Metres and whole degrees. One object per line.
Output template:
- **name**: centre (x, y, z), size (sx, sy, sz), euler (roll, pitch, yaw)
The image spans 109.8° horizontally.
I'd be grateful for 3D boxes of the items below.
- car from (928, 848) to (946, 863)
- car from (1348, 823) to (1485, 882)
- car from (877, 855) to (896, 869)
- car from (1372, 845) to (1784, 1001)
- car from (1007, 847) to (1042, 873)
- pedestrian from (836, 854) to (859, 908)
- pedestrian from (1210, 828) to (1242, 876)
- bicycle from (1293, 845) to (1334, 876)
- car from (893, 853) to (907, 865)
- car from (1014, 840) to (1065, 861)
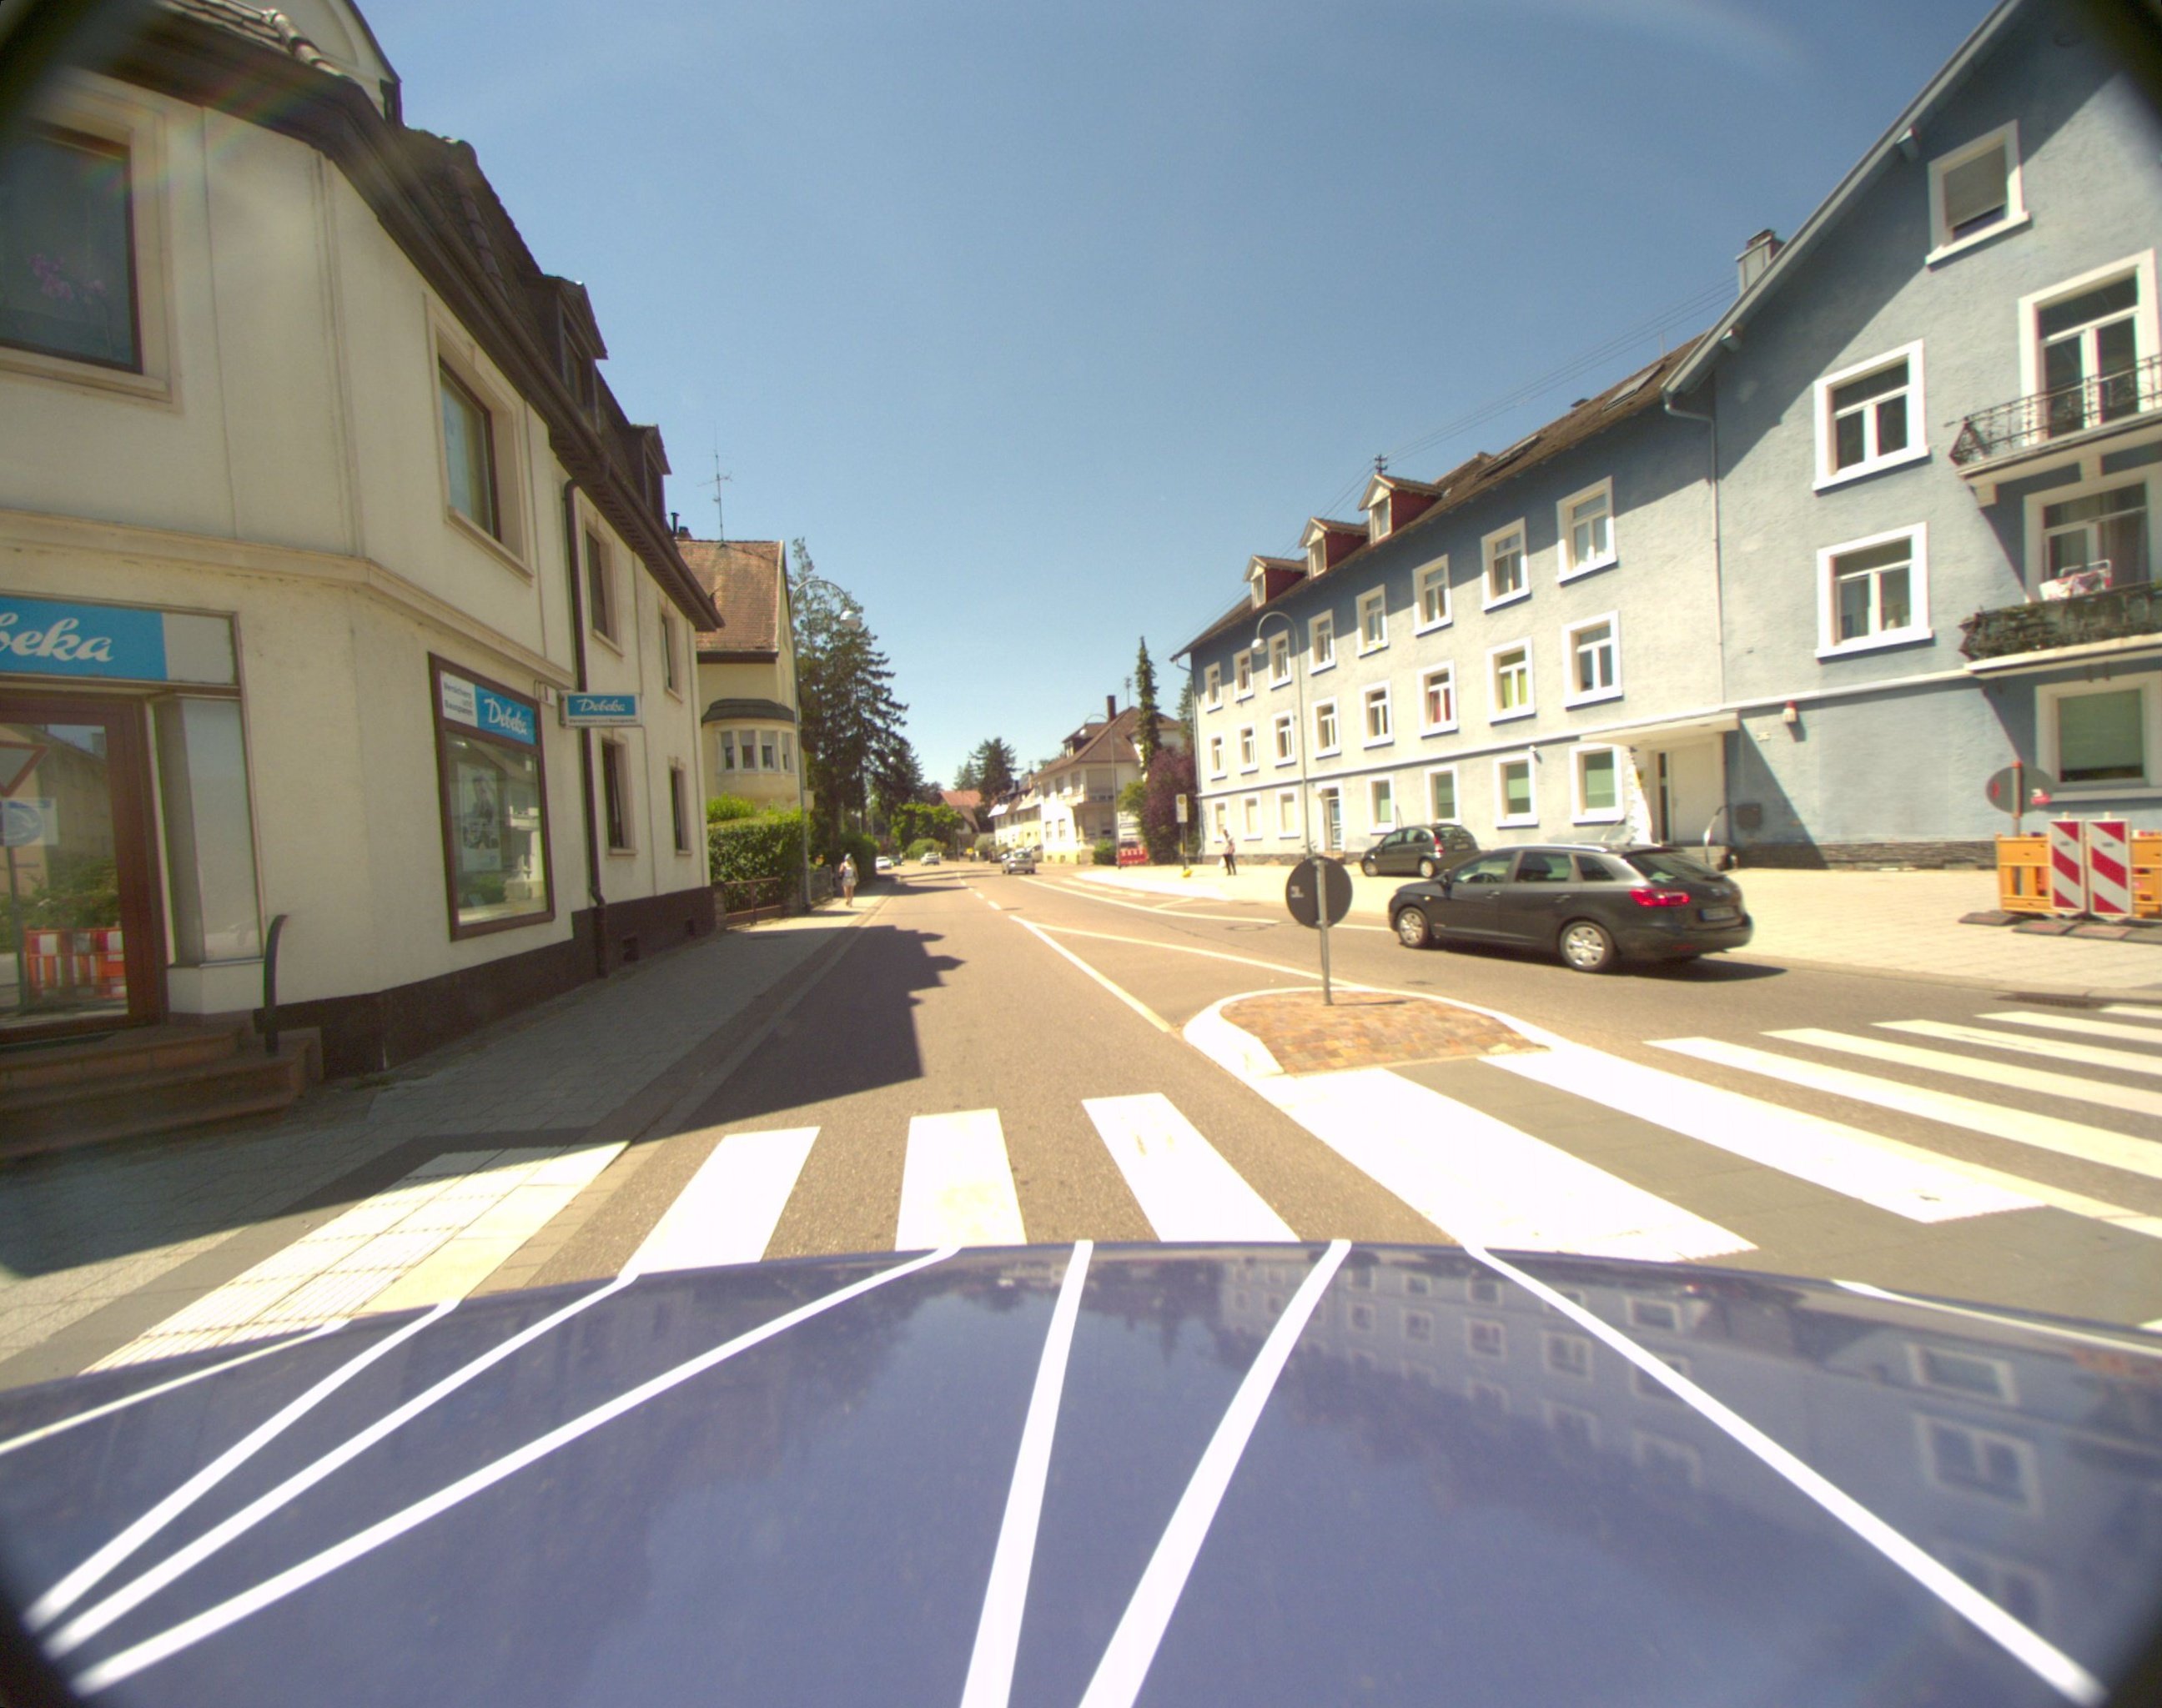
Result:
- **car**: centre (-17.257, 0.149, 90.825), size (1.827, 1.522, 3.944), euler (-4, 3, -13)
- **car**: centre (9.840, -0.101, 22.566), size (1.584, 1.526, 3.768), euler (-4, 3, -18)
- **car**: centre (-22.718, 0.902, 88.871), size (1.691, 1.447, 3.733), euler (-5, 2, -20)
- **car**: centre (5.722, 0.662, 9.388), size (1.666, 1.444, 4.016), euler (-2, 0, -22)
- **car**: centre (-3.740, 0.420, 49.586), size (1.844, 1.520, 4.391), euler (2, -3, -9)
- **pedestrian**: centre (-7.197, 0.824, 23.453), size (0.625, 1.634, 0.771), euler (1, 1, -15)
- **pedestrian**: centre (5.734, -0.077, 30.029), size (0.758, 1.838, 0.771), euler (-7, 2, -19)
- **bicycle**: centre (8.093, 0.211, 26.544), size (0.497, 0.972, 1.971), euler (-8, 3, -7)
- **car**: centre (-24.311, 0.622, 101.957), size (1.690, 1.447, 3.735), euler (-5, 2, -13)
- **car**: centre (-3.878, -0.328, 71.226), size (4.370, 1.866, 1.846), euler (-2, 1, -25)
